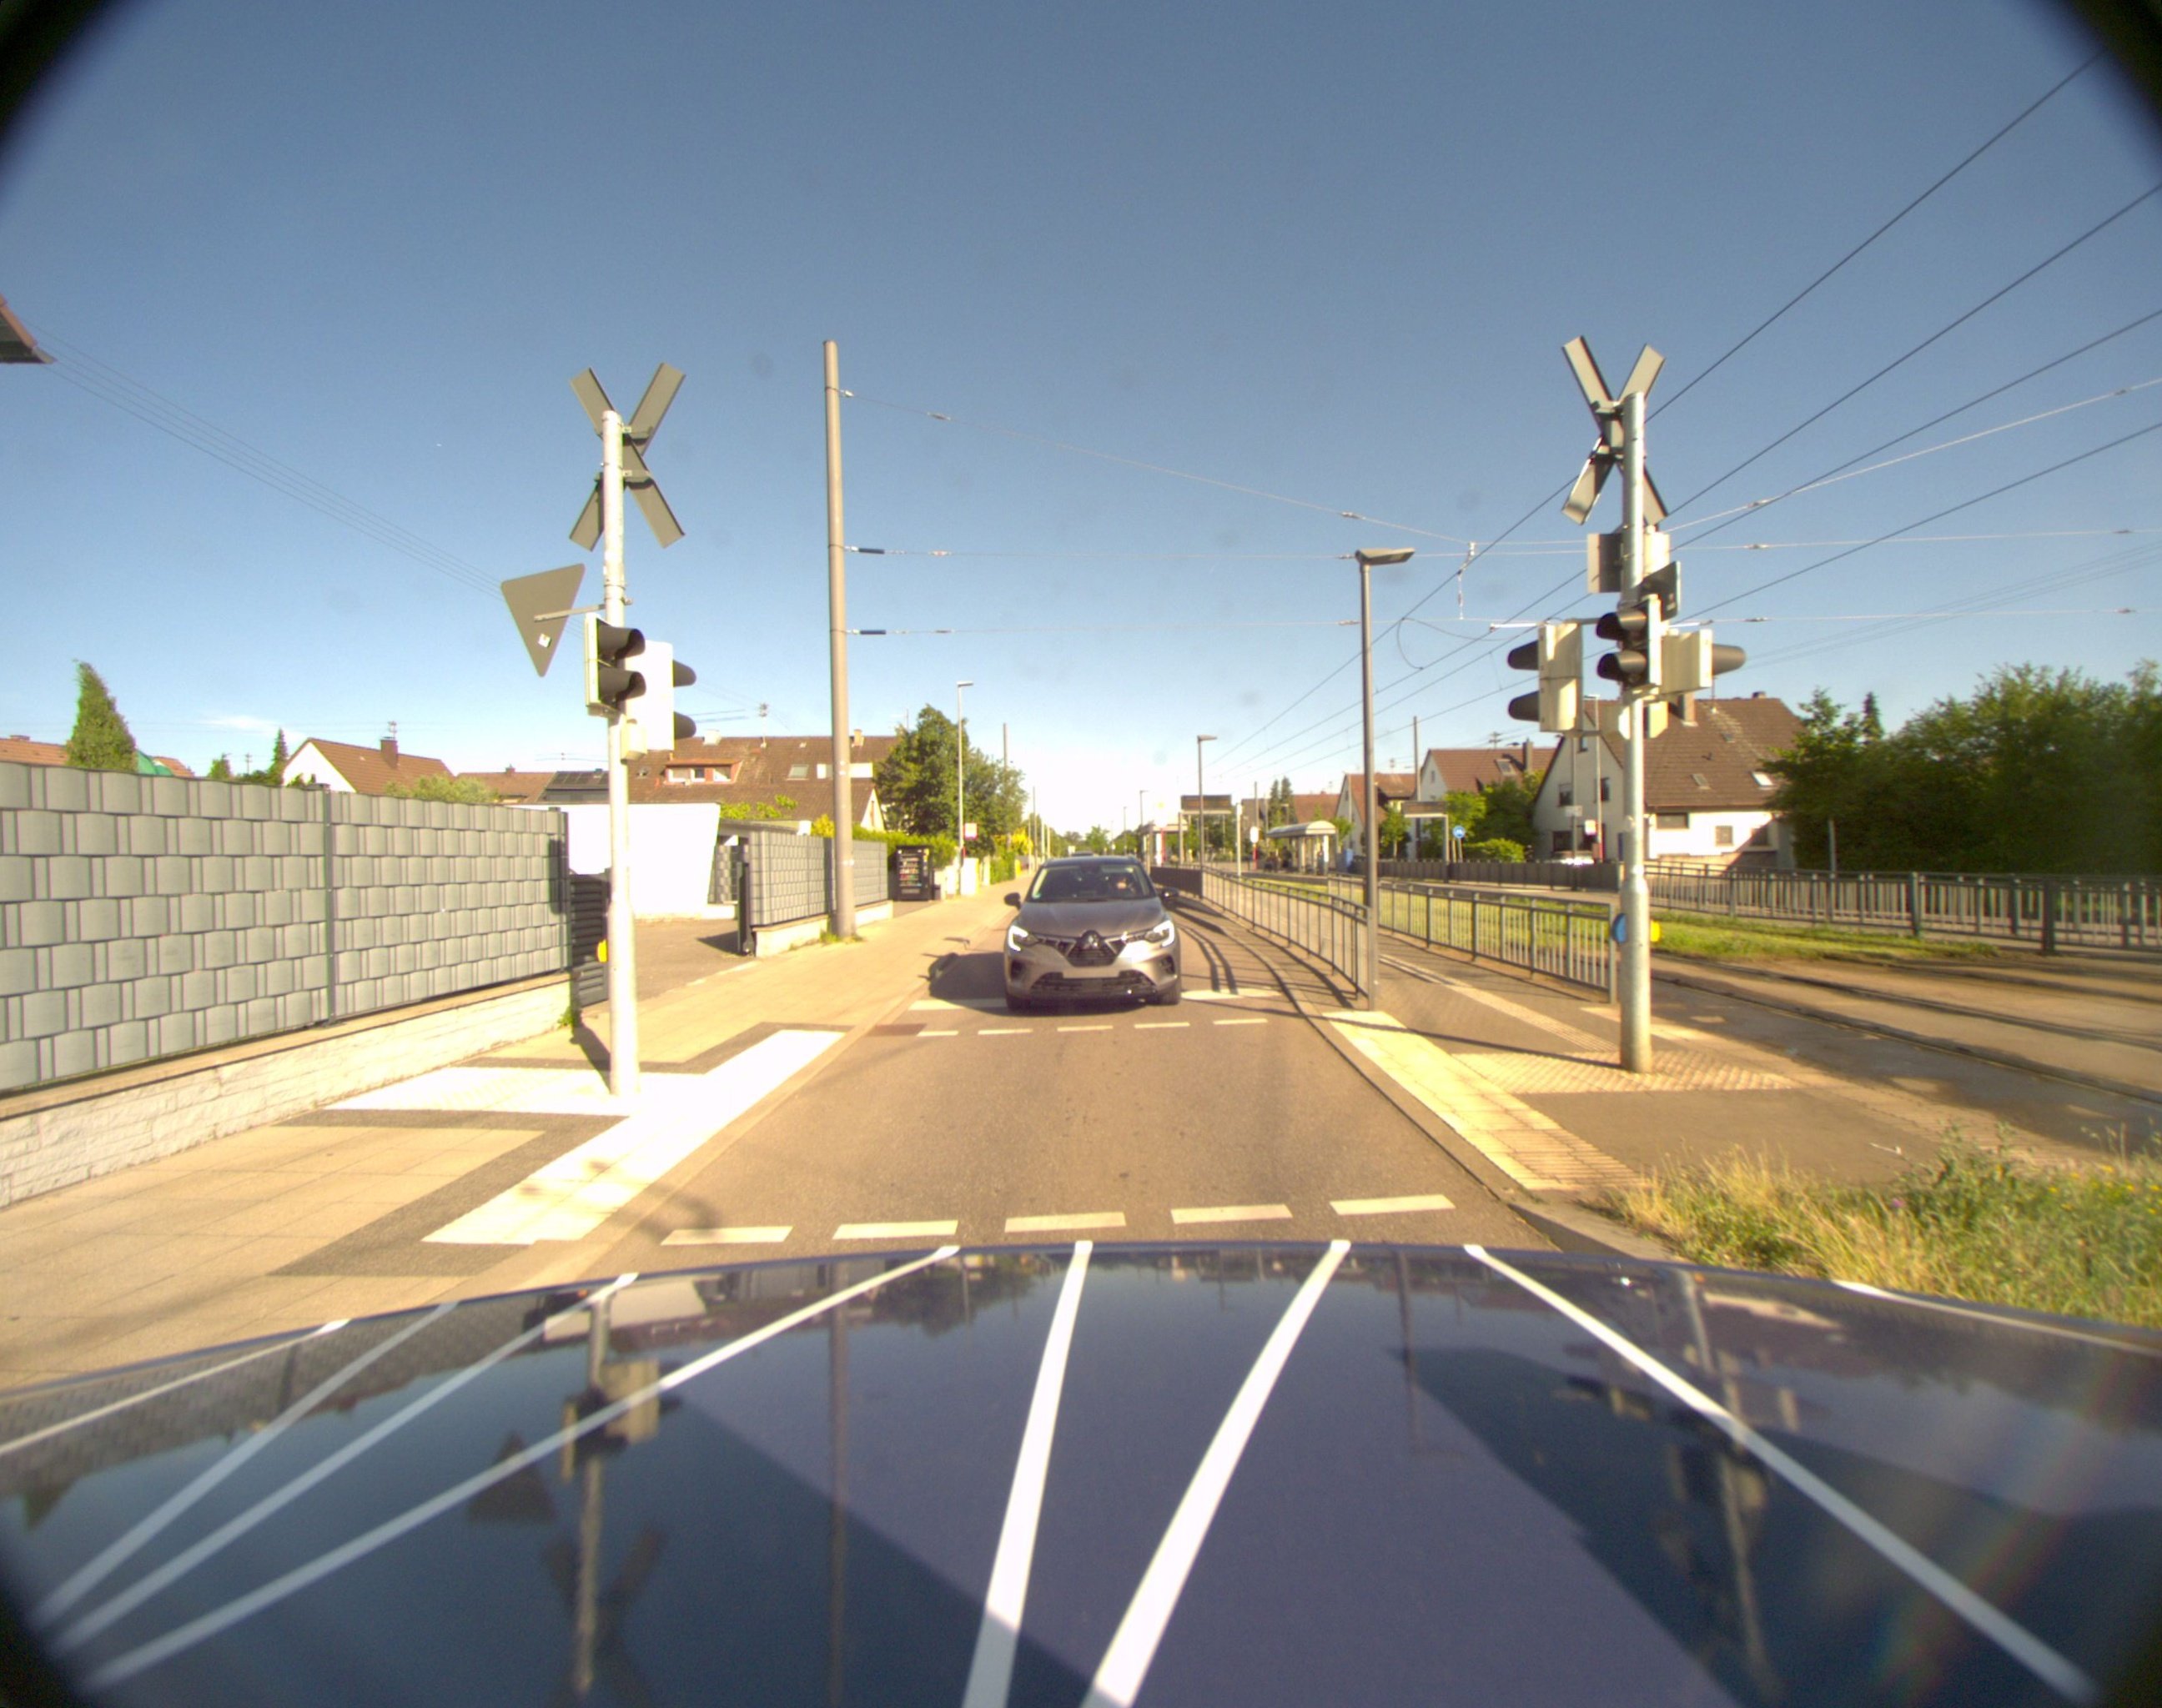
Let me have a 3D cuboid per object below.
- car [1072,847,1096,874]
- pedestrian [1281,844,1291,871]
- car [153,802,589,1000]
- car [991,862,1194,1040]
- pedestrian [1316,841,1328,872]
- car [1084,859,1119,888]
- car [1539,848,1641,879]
[{"bbox_3d":[0.312,0.585,69.195,2.089,2.226,4.722,-2,0,1],"label":"car"},{"bbox_3d":[13.580,0.249,50.329,0.534,1.742,0.543,-1,0,0],"label":"pedestrian"},{"bbox_3d":[-9.940,0.593,10.768,4.983,2.418,2.001,-1,2,14],"label":"car"},{"bbox_3d":[0.061,0.917,9.067,1.830,1.570,3.999,-2,0,-1],"label":"car"},{"bbox_3d":[13.669,0.165,43.139,0.622,1.742,0.442,-1,0,20],"label":"pedestrian"},{"bbox_3d":[1.088,0.983,39.683,1.687,1.379,4.000,-2,0,1],"label":"car"},{"bbox_3d":[26.508,0.481,39.675,3.989,1.526,1.999,-1,0,-3],"label":"car"}]
